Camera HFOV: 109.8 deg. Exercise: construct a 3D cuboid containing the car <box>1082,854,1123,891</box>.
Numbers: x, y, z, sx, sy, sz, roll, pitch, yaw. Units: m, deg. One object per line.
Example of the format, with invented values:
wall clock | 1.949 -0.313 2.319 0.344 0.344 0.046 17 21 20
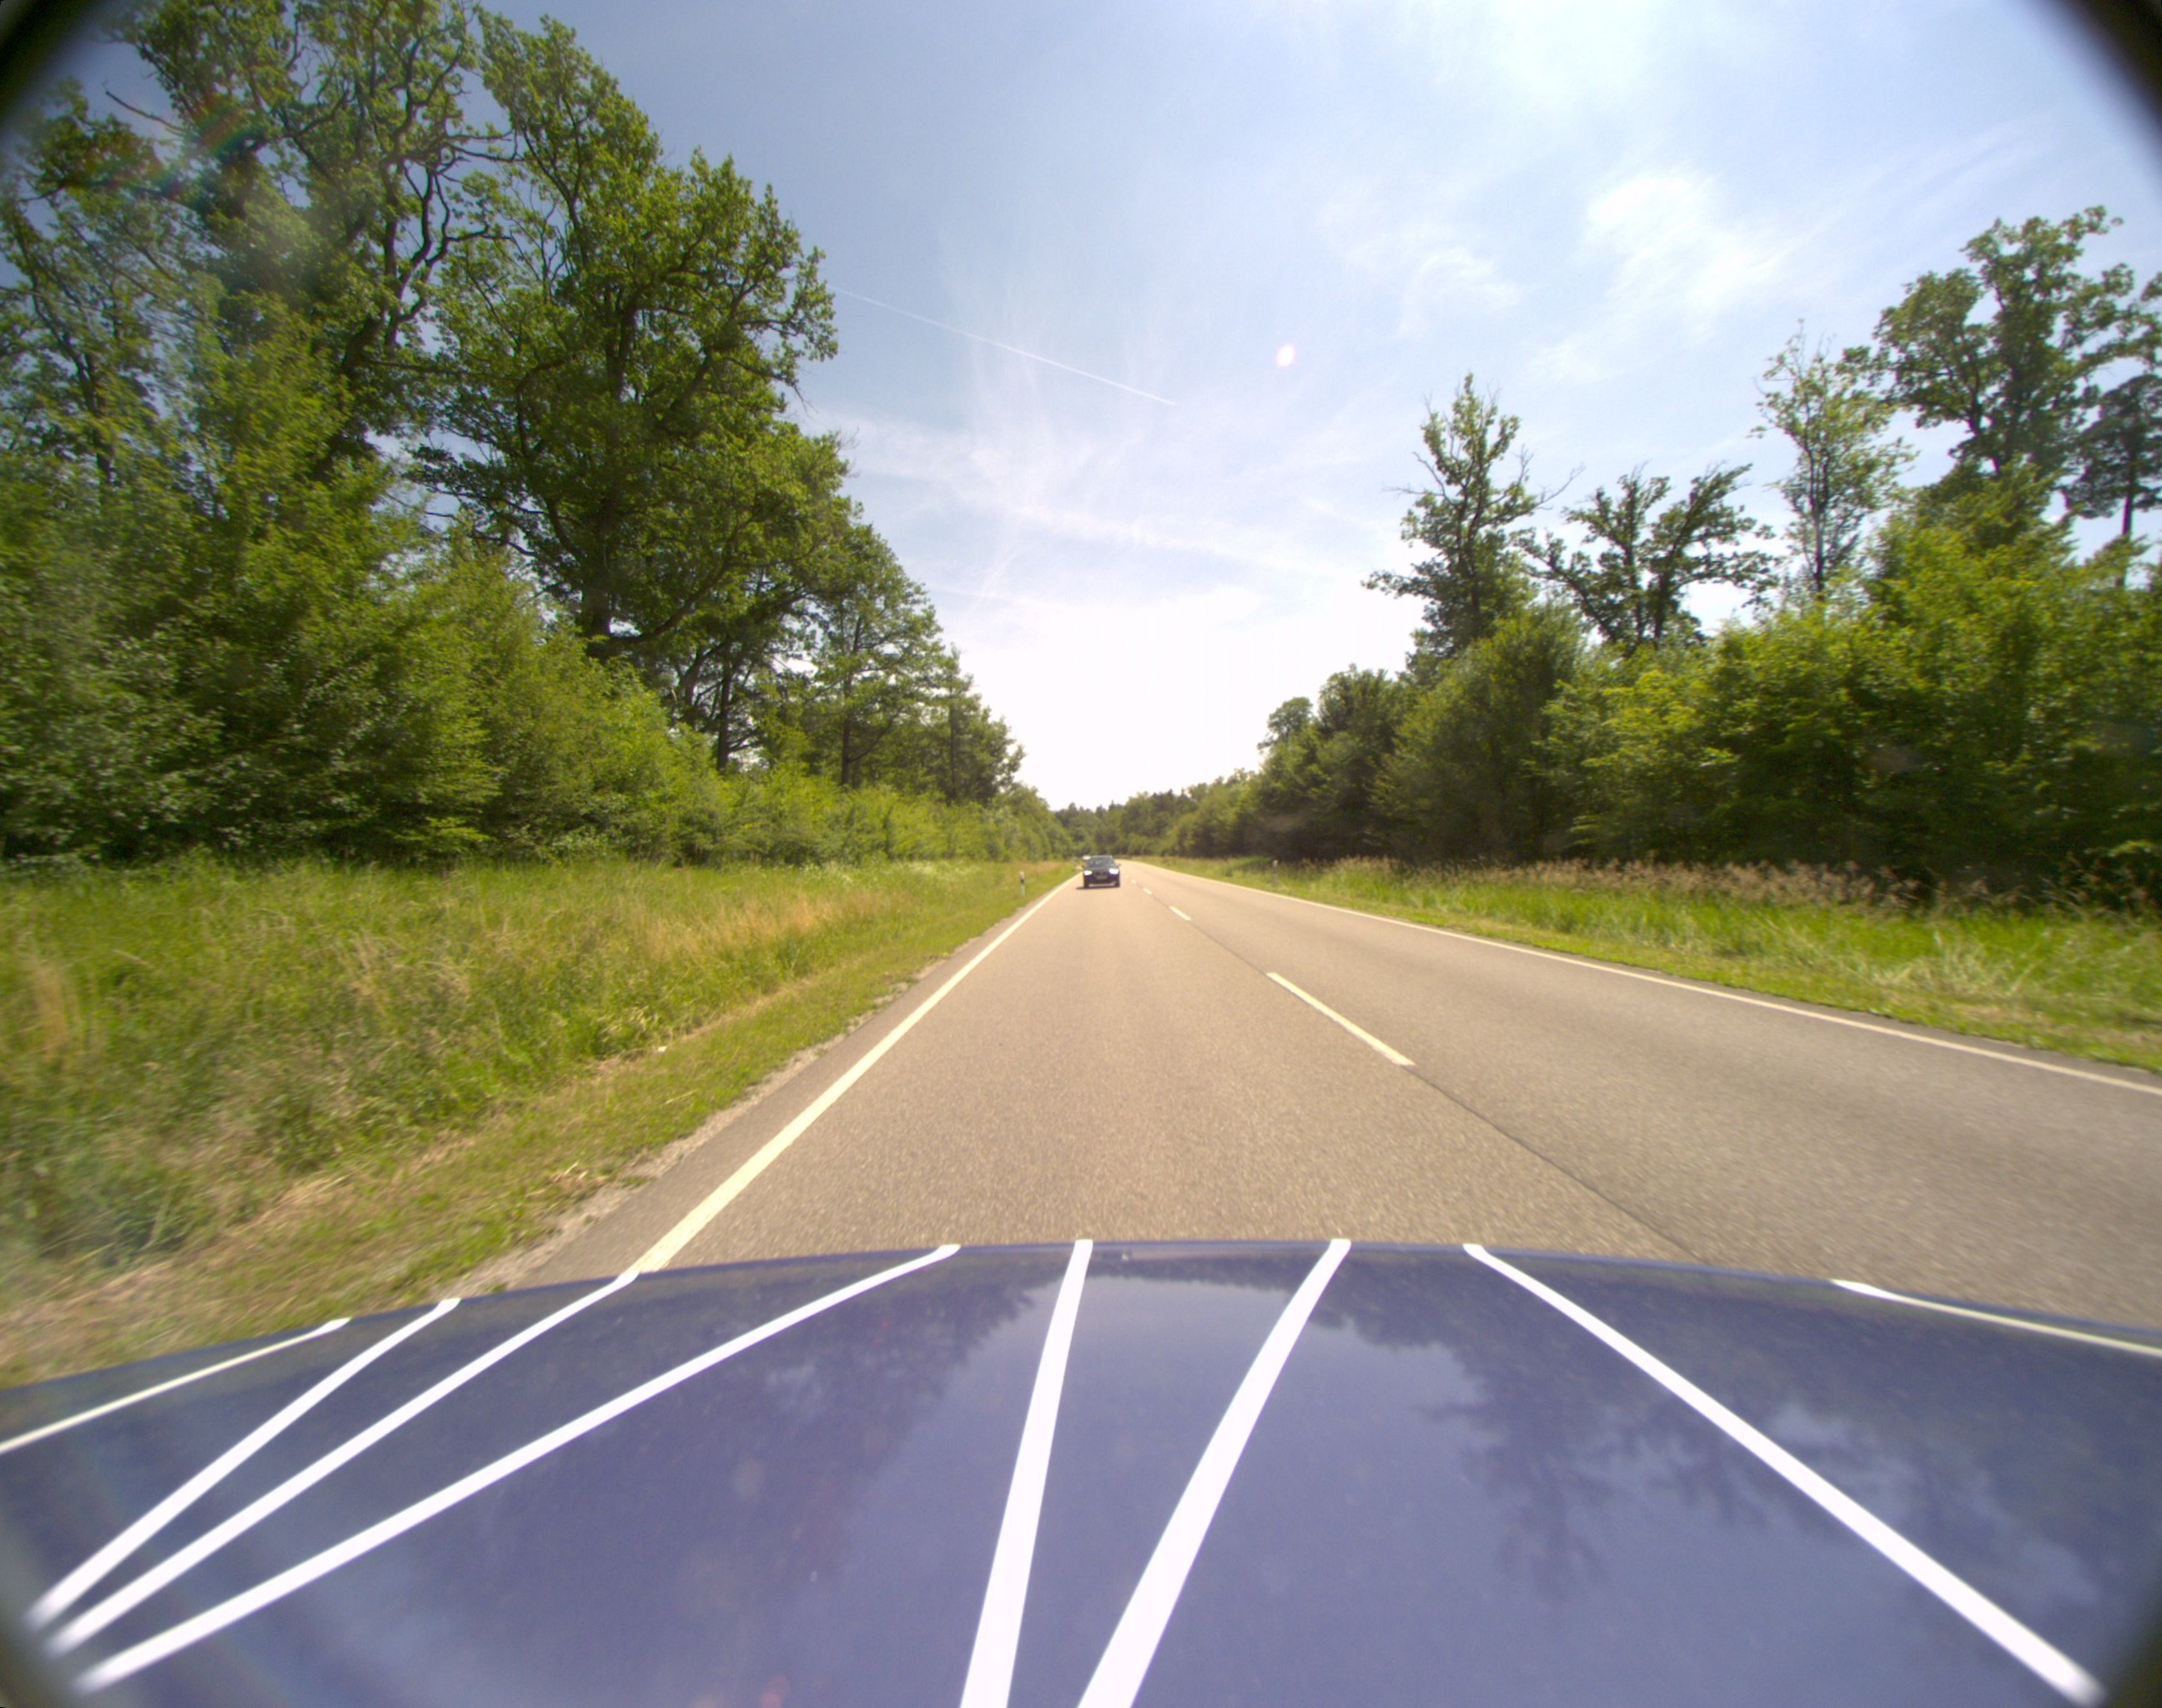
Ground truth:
car | 1.036 0.818 35.554 1.713 1.516 4.242 -3 0 2
